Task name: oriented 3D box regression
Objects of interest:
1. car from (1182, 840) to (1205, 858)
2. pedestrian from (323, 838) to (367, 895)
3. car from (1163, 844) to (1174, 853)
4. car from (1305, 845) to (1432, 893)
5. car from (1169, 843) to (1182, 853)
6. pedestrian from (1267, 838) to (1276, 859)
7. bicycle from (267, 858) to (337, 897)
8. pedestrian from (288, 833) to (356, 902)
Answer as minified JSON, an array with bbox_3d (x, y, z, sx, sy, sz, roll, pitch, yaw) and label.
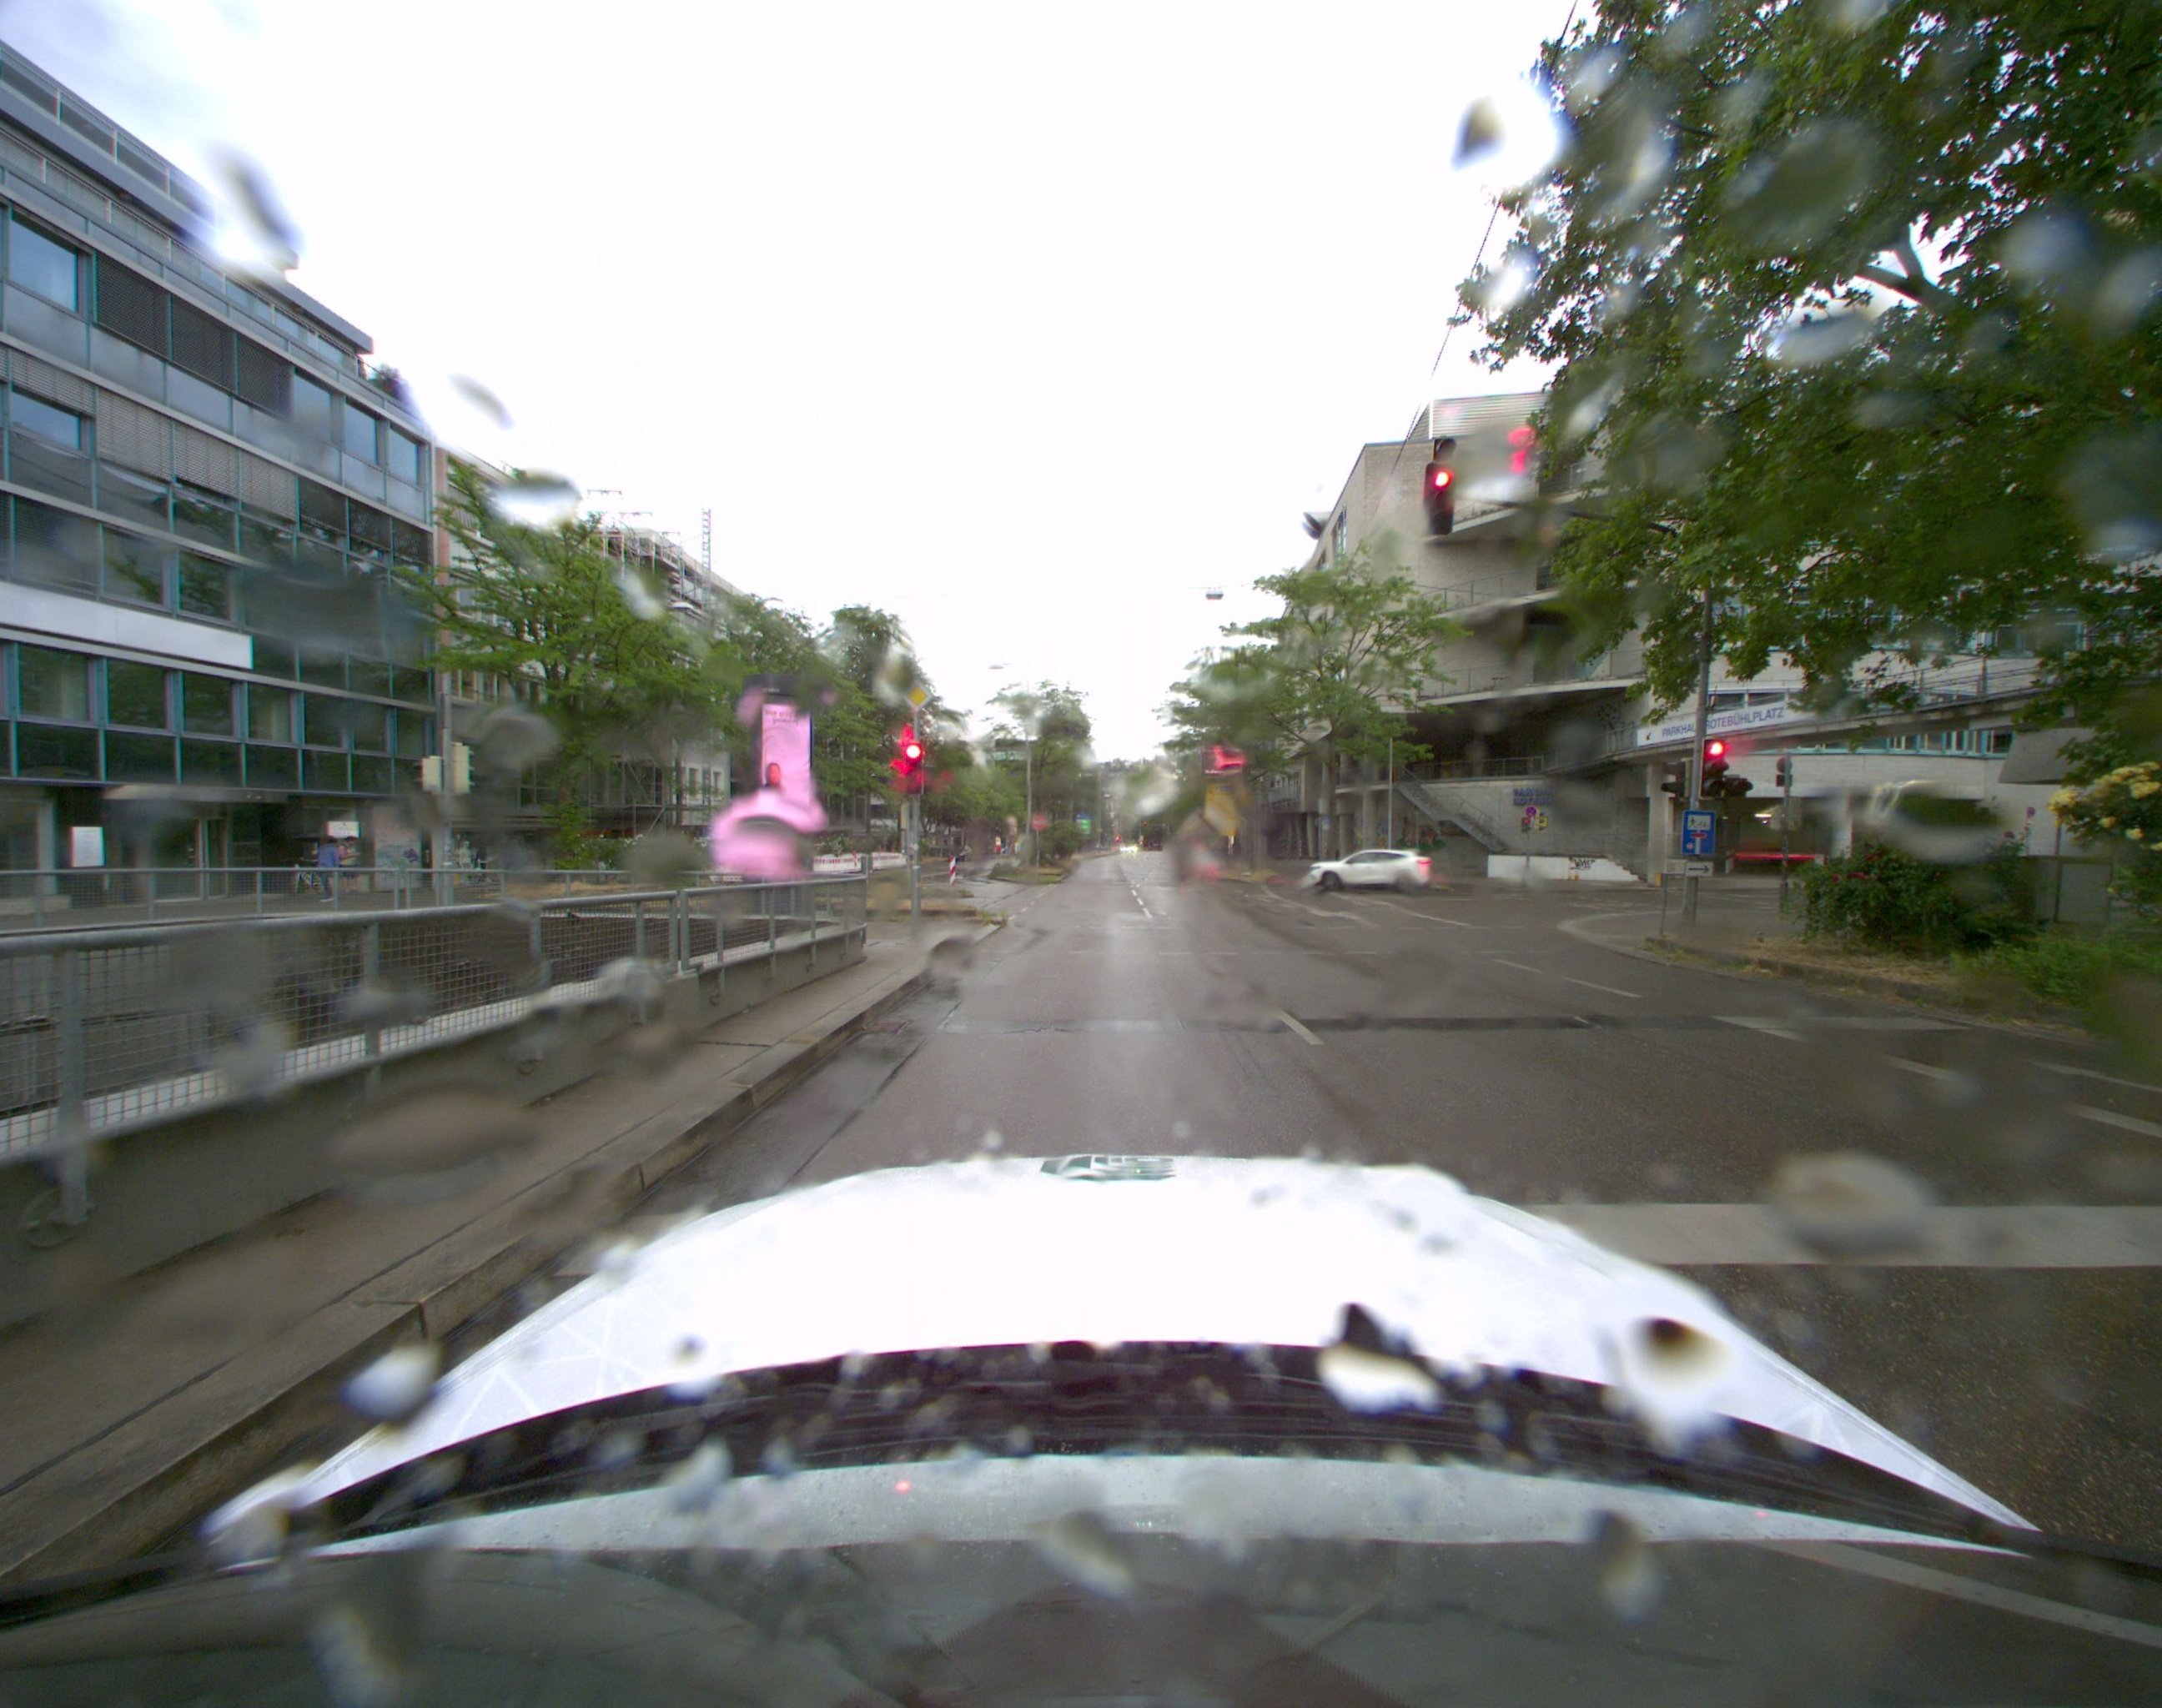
[{"bbox_3d":[11.539,-0.517,83.341,2.324,1.691,4.010,0,1,9],"label":"car"},{"bbox_3d":[-22.808,0.389,25.238,0.694,1.741,0.694,1,0,-4],"label":"pedestrian"},{"bbox_3d":[17.869,-1.069,166.639,1.986,1.736,4.002,0,-1,2],"label":"car"},{"bbox_3d":[10.567,0.521,29.922,4.248,1.640,1.845,0,-1,23],"label":"car"},{"bbox_3d":[16.968,-1.016,145.829,1.986,1.723,4.001,0,-1,1],"label":"car"},{"bbox_3d":[17.086,-0.494,72.987,0.770,1.920,0.705,-1,-1,11],"label":"pedestrian"},{"bbox_3d":[-22.954,0.672,24.038,0.444,1.085,1.567,0,0,6],"label":"bicycle"},{"bbox_3d":[-20.886,0.365,22.432,0.854,1.838,1.060,1,0,2],"label":"pedestrian"}]
